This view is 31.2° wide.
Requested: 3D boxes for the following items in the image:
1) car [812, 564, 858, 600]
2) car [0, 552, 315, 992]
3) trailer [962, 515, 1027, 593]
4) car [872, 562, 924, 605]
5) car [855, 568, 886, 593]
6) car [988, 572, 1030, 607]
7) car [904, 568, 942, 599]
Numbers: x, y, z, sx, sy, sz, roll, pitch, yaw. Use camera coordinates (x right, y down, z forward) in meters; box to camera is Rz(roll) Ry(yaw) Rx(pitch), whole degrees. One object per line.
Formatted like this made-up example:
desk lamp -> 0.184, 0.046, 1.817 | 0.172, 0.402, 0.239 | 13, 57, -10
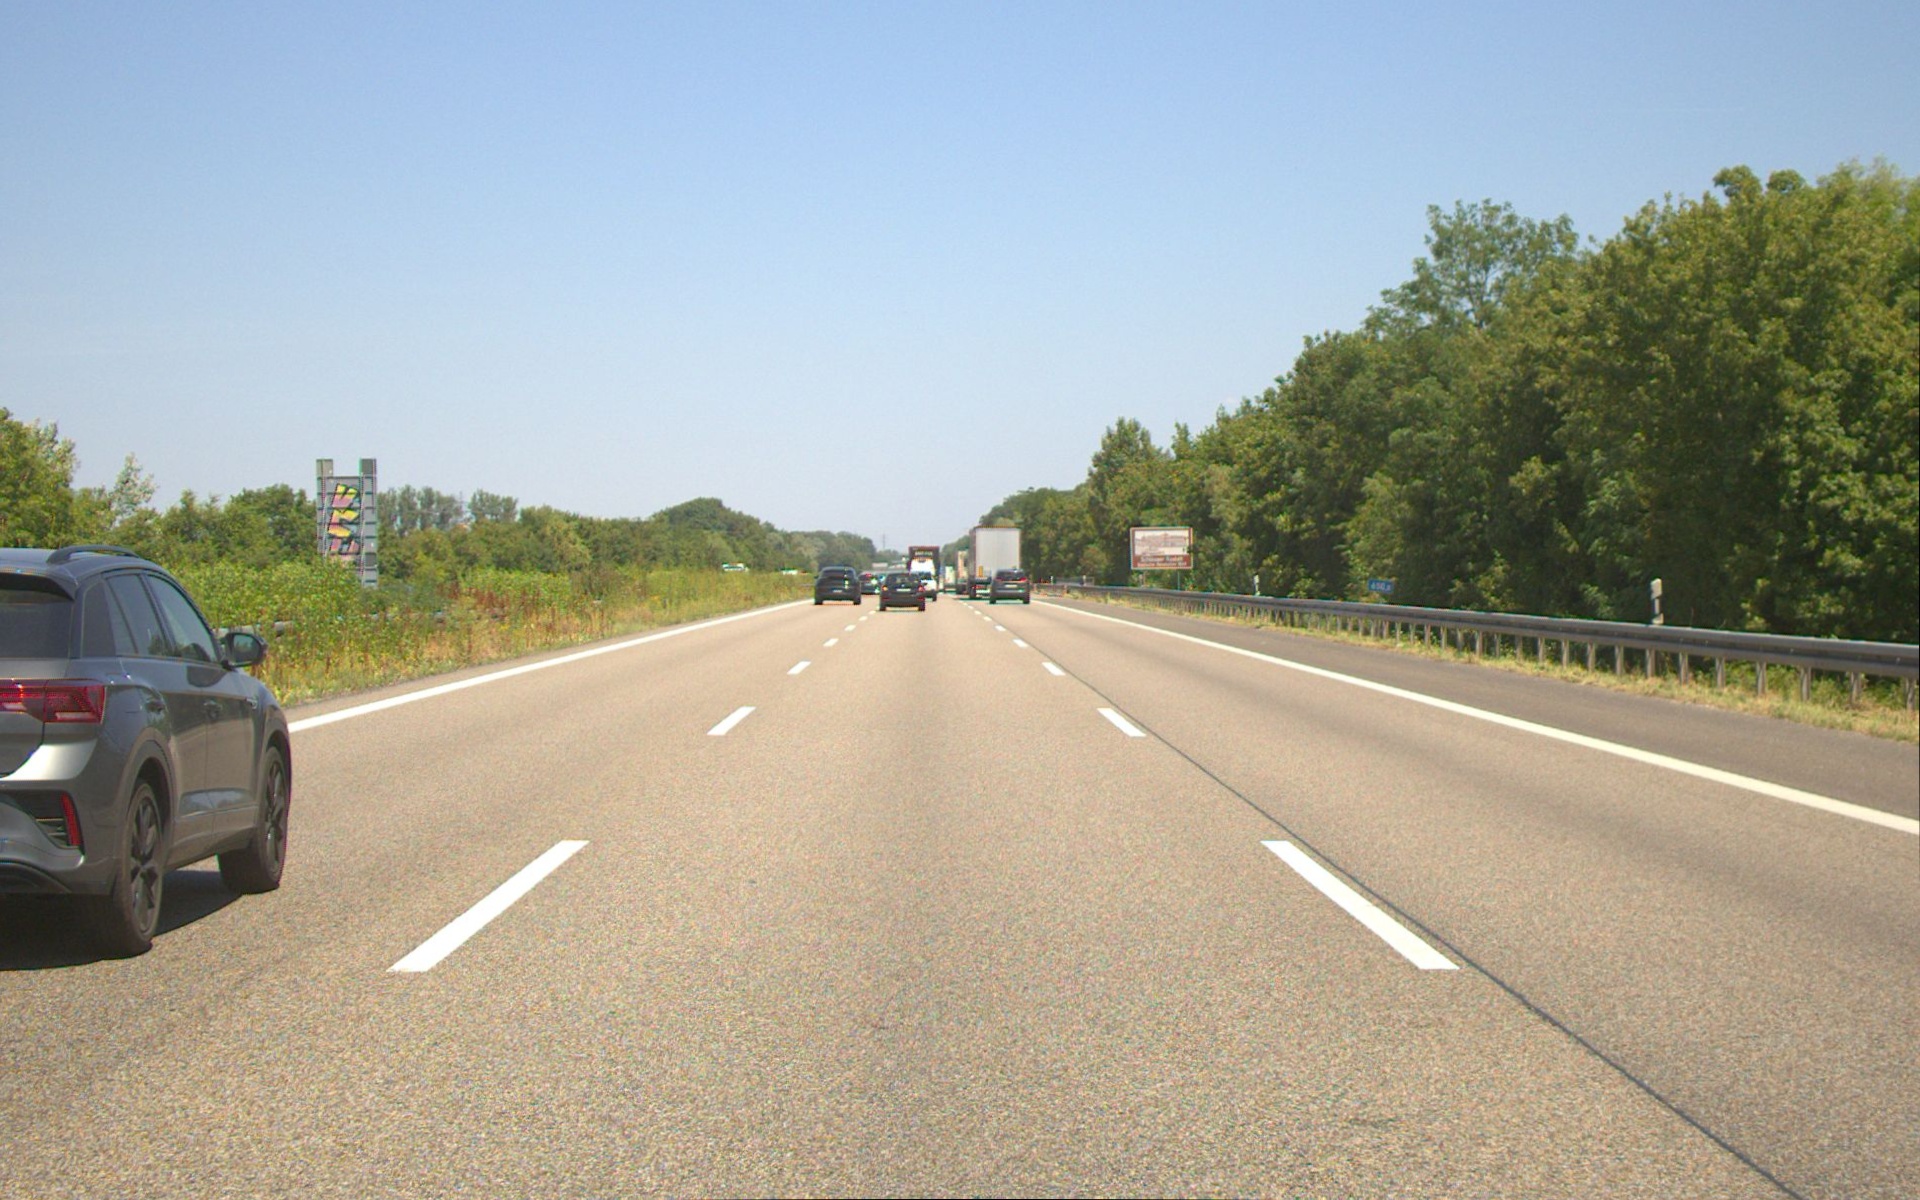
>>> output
car -> -5.489, -0.804, 151.446 | 1.907, 1.526, 4.285 | 1, 1, -1
car -> -3.936, 0.572, 14.222 | 1.759, 1.526, 4.285 | 1, 1, -1
trailer -> 1.879, -2.541, 194.476 | 3.434, 4.167, 13.632 | 1, 0, 0
car -> -2.281, -0.633, 127.163 | 1.900, 1.526, 4.084 | 1, 1, -1
car -> -5.670, -1.270, 218.627 | 1.907, 1.526, 4.285 | 1, 1, -1
car -> 2.296, -0.485, 161.732 | 1.845, 1.623, 4.135 | -1, 0, 0
car -> -1.889, -0.834, 175.635 | 1.900, 1.526, 4.084 | 1, 1, -1
